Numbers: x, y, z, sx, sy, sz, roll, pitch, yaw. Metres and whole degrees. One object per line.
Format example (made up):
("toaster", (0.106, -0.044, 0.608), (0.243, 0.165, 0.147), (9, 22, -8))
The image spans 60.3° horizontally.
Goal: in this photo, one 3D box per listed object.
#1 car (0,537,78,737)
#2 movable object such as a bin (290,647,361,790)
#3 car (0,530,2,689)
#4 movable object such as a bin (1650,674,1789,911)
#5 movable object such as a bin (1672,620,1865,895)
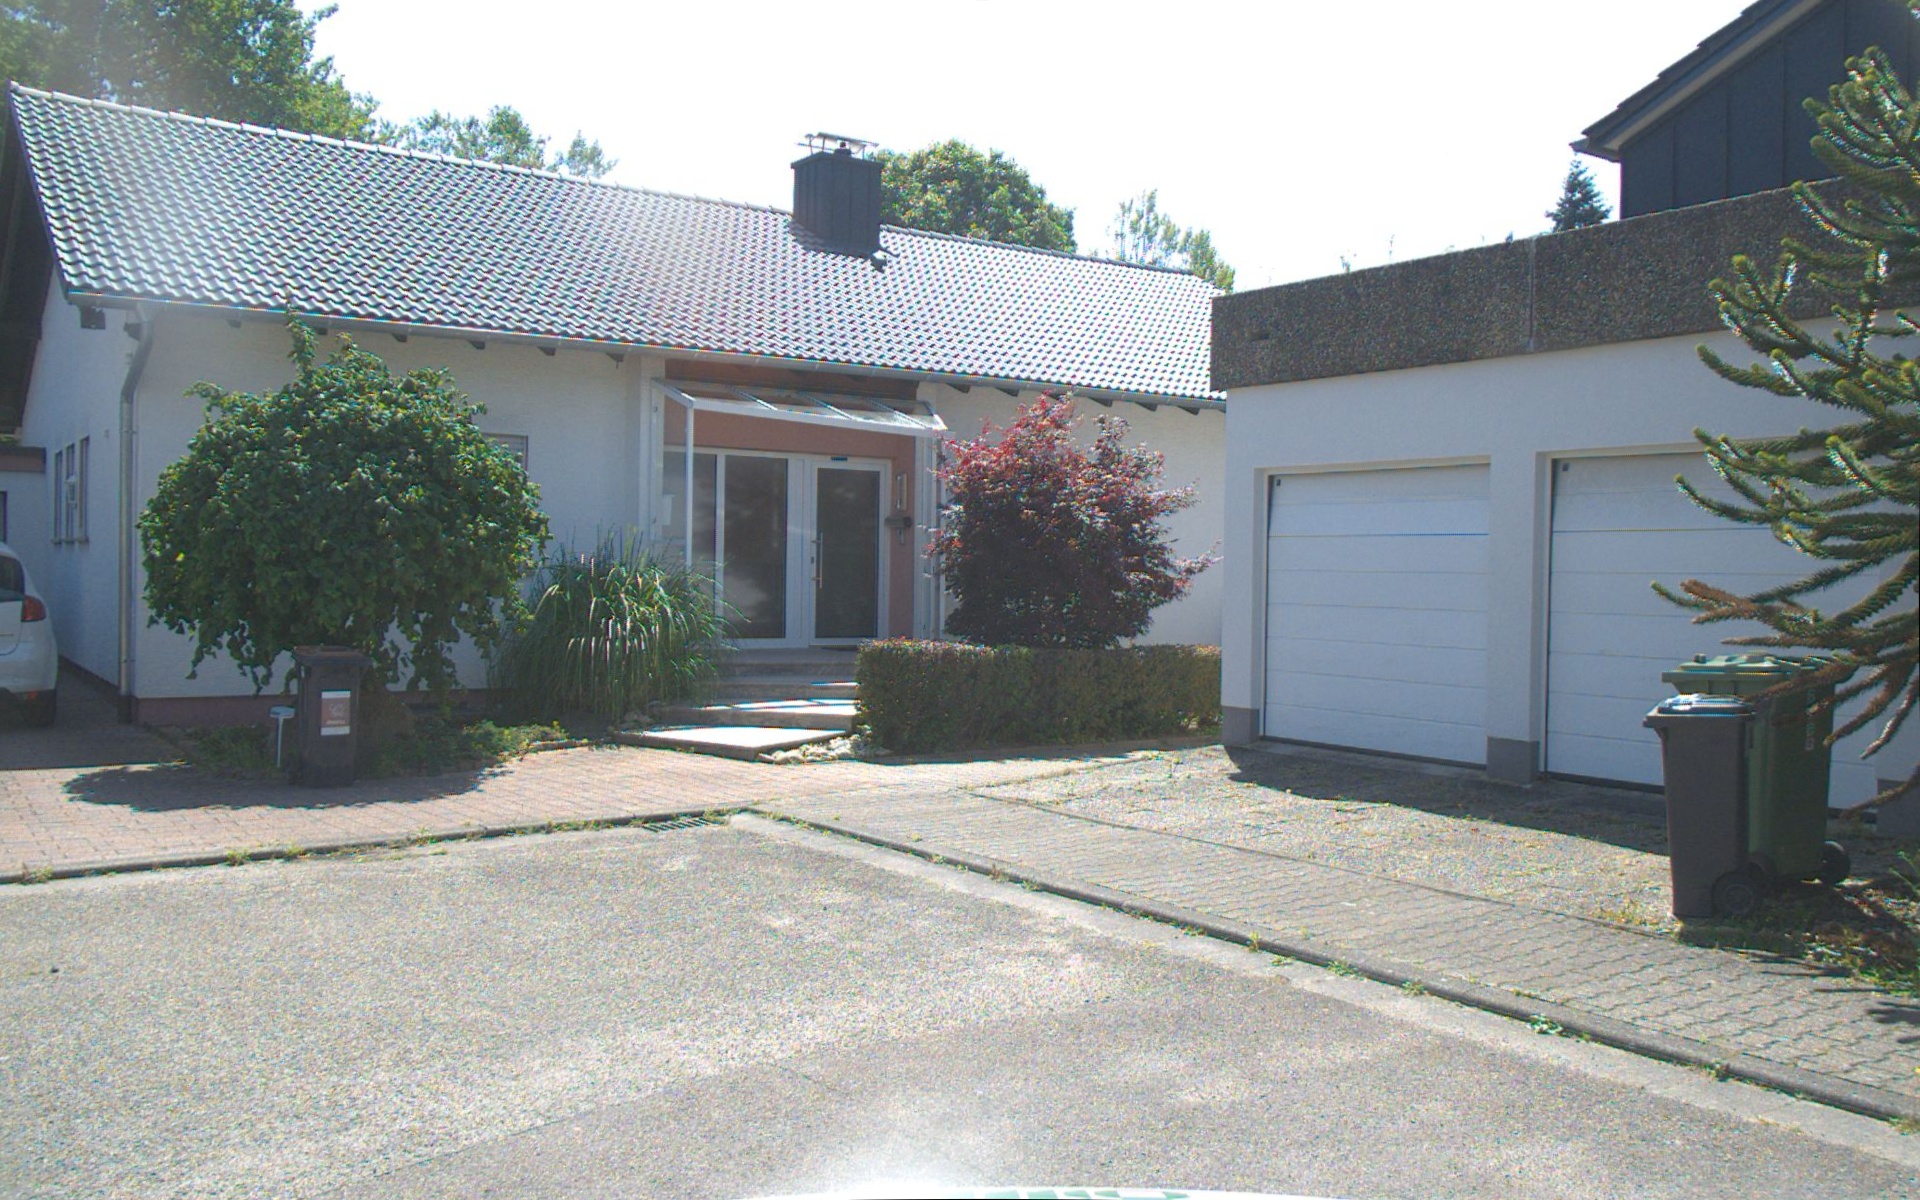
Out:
("car", (-9.068, 0.238, 14.539), (1.733, 1.596, 3.948), (0, 2, -37))
("movable object such as a bin", (-4.261, 0.785, 11.104), (0.371, 0.907, 0.386), (0, 1, -35))
("car", (-11.769, 0.035, 18.203), (1.905, 1.635, 3.954), (0, 2, -33))
("movable object such as a bin", (3.359, 0.831, 7.308), (0.512, 0.966, 0.388), (1, 1, 30))
("movable object such as a bin", (3.845, 0.716, 7.881), (0.544, 1.224, 0.626), (1, 1, -34))
